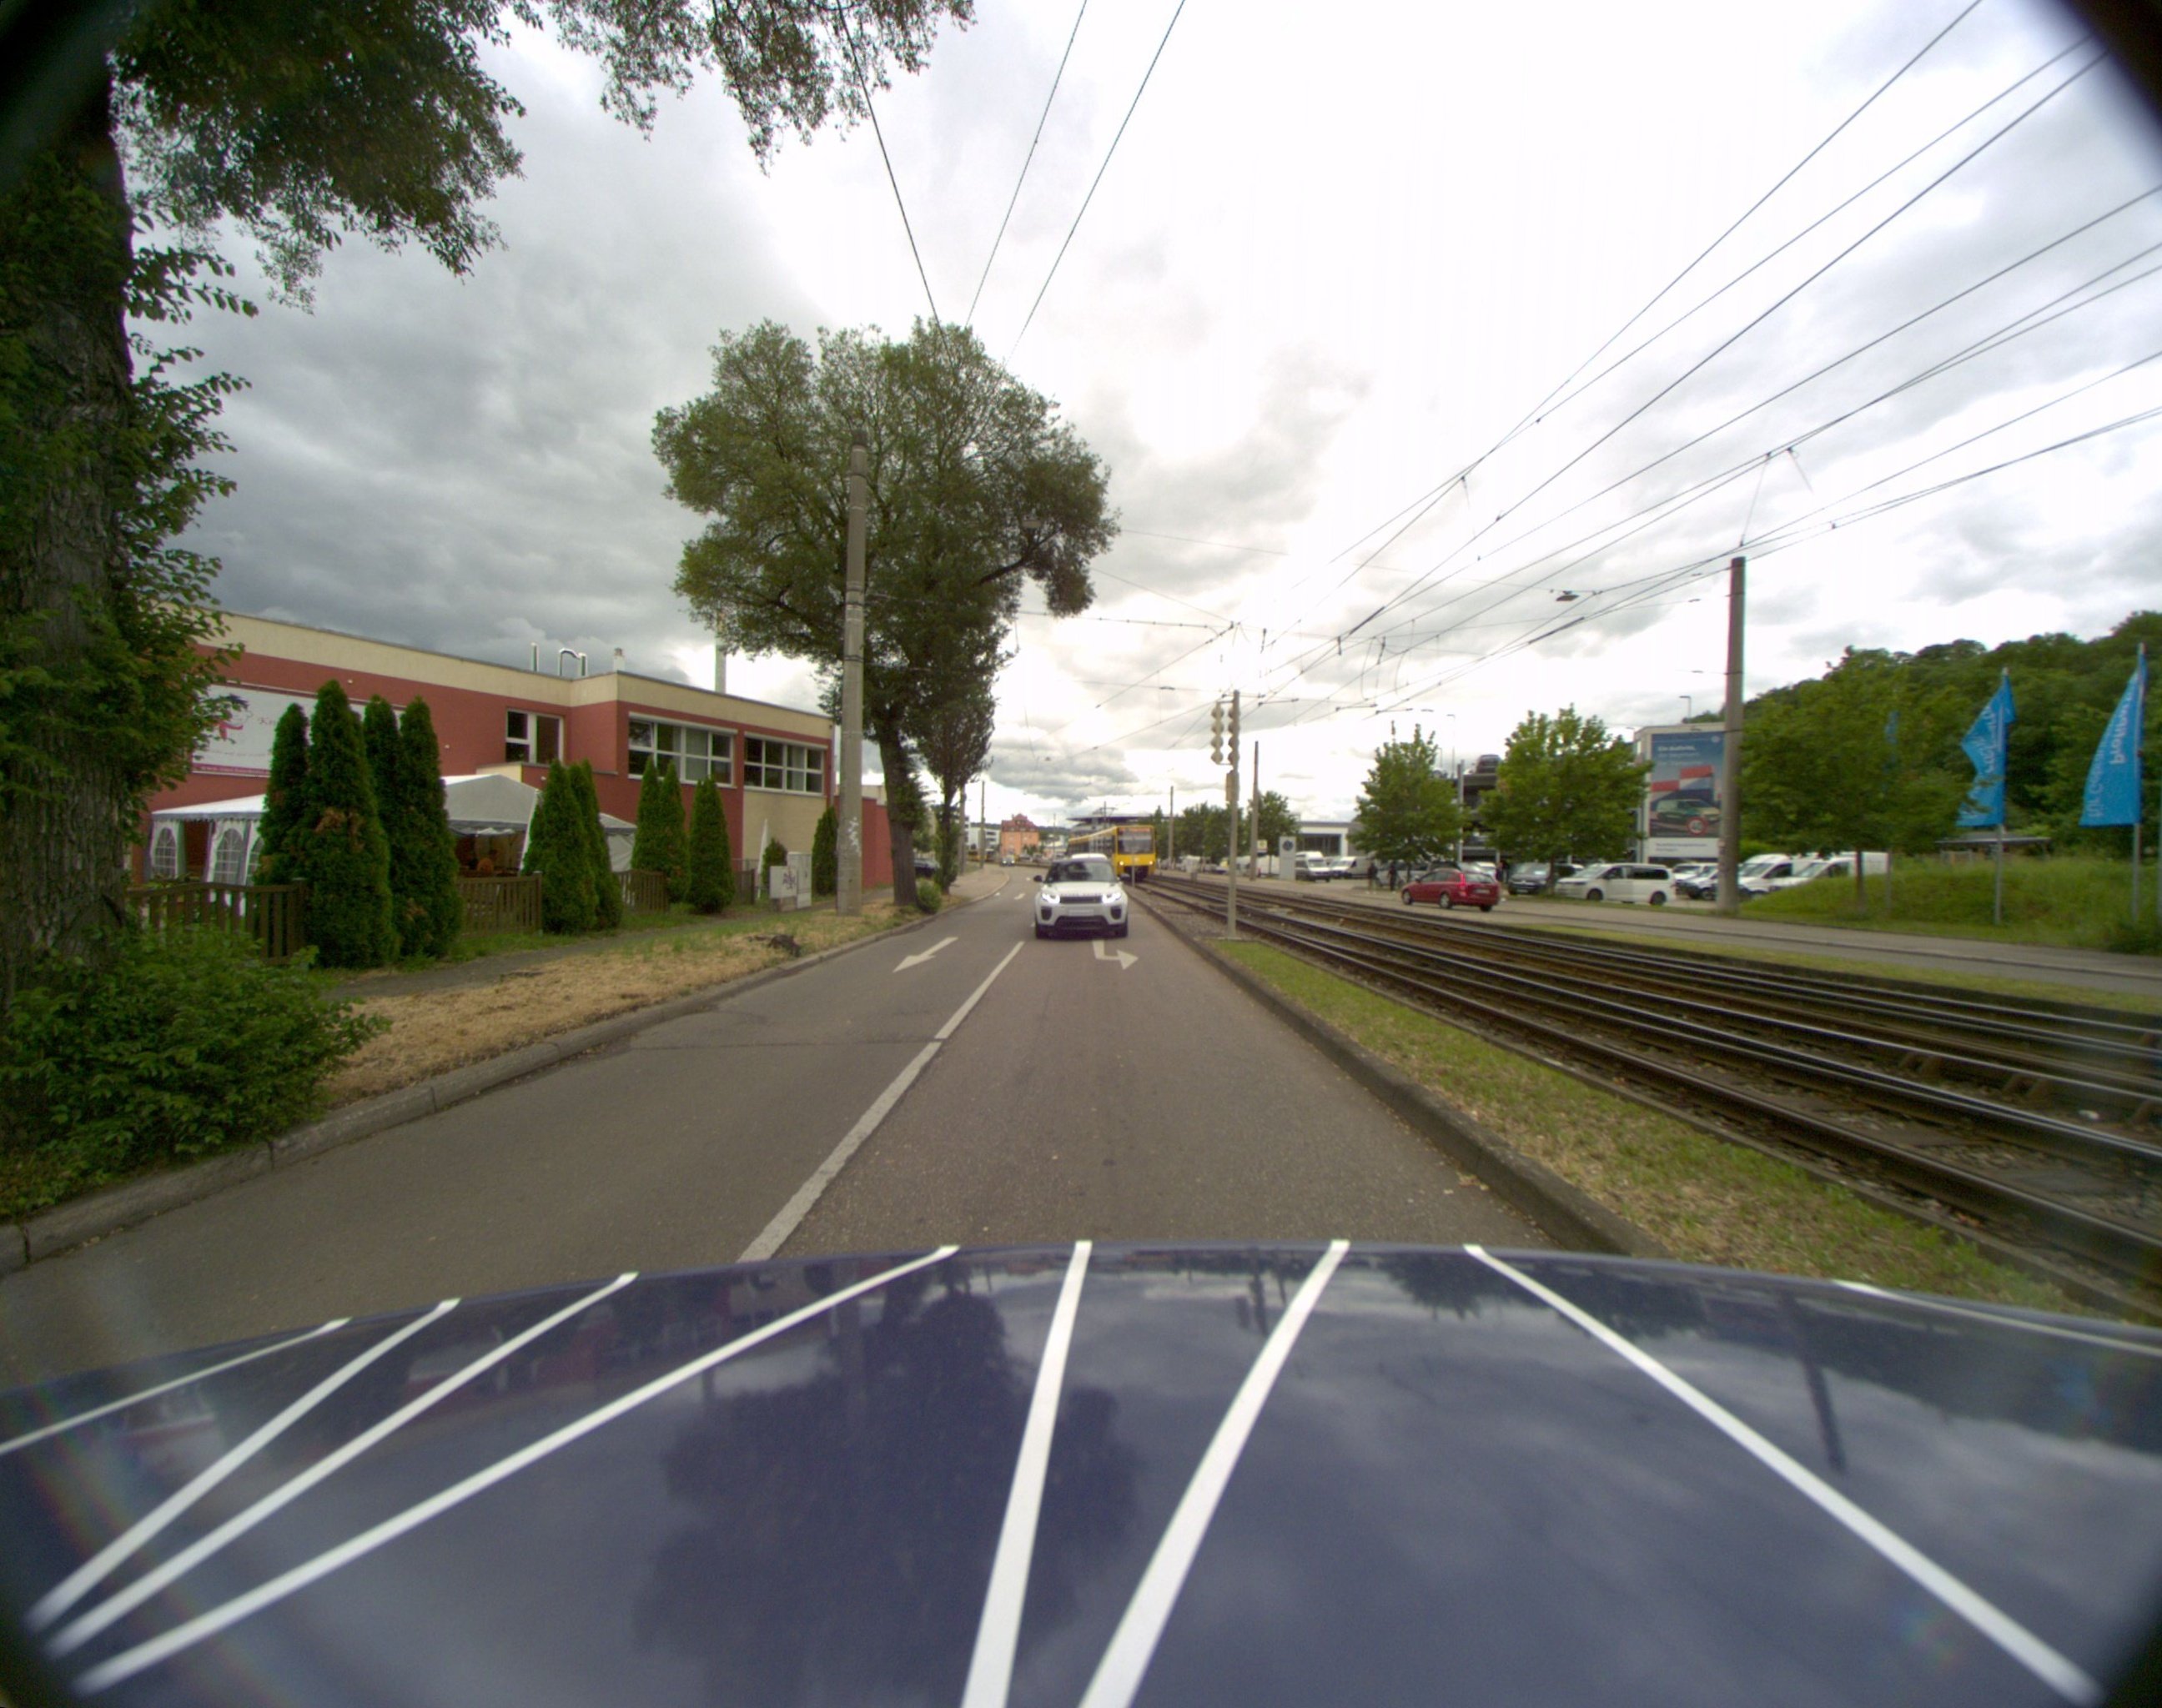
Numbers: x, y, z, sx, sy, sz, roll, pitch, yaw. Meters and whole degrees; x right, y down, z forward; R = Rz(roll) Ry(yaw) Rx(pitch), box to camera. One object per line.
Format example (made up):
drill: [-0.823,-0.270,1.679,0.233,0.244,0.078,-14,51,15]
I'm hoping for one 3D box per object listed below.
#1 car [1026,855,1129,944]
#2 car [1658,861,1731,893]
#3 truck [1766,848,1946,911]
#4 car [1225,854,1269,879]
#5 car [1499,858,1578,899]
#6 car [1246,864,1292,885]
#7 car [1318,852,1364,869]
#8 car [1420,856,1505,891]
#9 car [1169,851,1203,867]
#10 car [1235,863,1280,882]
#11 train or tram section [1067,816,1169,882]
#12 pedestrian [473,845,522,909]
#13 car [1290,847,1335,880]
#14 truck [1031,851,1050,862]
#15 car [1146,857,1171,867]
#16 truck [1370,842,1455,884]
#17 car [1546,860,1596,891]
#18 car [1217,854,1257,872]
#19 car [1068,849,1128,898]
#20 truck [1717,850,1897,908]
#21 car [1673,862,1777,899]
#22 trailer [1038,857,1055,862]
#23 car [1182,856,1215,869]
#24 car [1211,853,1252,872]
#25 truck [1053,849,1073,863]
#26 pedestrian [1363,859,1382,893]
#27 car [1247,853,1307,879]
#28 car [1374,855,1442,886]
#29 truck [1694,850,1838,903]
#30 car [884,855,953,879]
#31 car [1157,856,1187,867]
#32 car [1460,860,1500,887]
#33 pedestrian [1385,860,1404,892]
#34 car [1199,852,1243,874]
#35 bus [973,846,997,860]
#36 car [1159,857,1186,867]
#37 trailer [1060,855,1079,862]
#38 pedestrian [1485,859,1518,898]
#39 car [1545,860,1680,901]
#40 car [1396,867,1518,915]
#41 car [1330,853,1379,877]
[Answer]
car: [-0.143,0.879,16.654,1.999,1.718,3.999,0,0,-2]
car: [39.564,1.458,48.998,4.284,2.001,1.996,0,-1,-25]
truck: [34.356,1.073,33.947,5.059,2.573,2.473,1,0,25]
car: [18.782,1.383,86.027,4.380,2.802,2.002,1,0,-10]
car: [24.342,1.274,40.345,5.084,2.002,2.160,1,0,-42]
car: [20.042,2.171,81.142,4.380,2.093,2.002,1,0,-10]
car: [31.686,0.753,92.763,4.857,2.002,1.999,1,0,-4]
car: [22.837,1.118,45.721,2.000,2.002,5.126,1,0,-7]
car: [15.266,0.739,110.313,4.510,2.298,2.124,1,0,-5]
car: [19.363,2.022,83.602,4.380,2.093,2.002,1,0,-10]
train or tram section: [2.122,-0.403,55.068,3.400,3.984,16.925,-1,1,-11]
pedestrian: [-13.946,0.536,18.174,0.703,1.481,0.771,1,1,37]
car: [22.287,0.864,73.388,2.114,3.001,5.934,1,0,-4]
truck: [-10.778,0.643,201.186,3.119,2.904,8.950,3,-1,-14]
car: [13.133,1.332,128.953,3.999,1.608,1.999,1,0,-4]
truck: [25.895,0.681,59.431,5.923,3.067,2.123,1,0,24]
car: [33.710,1.421,52.432,1.995,2.001,4.475,1,0,21]
car: [19.255,1.085,93.845,4.380,2.160,2.002,1,0,-10]
car: [0.638,0.788,32.315,2.000,1.881,4.624,1,0,-6]
truck: [35.042,1.155,36.927,5.765,2.573,2.472,1,0,19]
car: [36.486,1.484,43.147,3.993,2.002,2.002,0,0,11]
trailer: [-8.893,1.389,193.424,3.061,1.270,6.998,3,-1,-14]
car: [16.722,1.220,108.202,4.378,1.834,2.003,1,0,-5]
car: [17.968,1.053,91.033,4.380,2.160,2.002,1,0,-10]
truck: [-4.160,0.387,174.072,2.874,2.963,8.445,3,-1,-12]
pedestrian: [15.922,1.198,41.549,0.678,1.802,0.855,-1,0,-3]
car: [20.171,1.269,78.417,5.489,2.587,2.245,1,0,-6]
car: [22.280,1.068,51.948,2.000,2.002,4.915,1,0,-8]
truck: [36.026,1.149,40.181,5.061,2.573,2.472,1,0,19]
car: [-11.017,0.873,51.548,4.223,1.434,1.766,2,1,22]
car: [14.457,1.170,120.351,4.380,1.608,2.003,1,0,-8]
car: [28.568,1.339,54.493,1.995,1.820,4.475,1,0,21]
pedestrian: [17.155,1.194,41.637,0.630,1.703,0.855,-1,0,-3]
car: [17.715,1.094,96.350,4.983,2.683,2.113,1,0,-10]
bus: [-27.779,-0.294,219.049,3.566,3.930,10.468,-1,2,-27]
car: [14.730,1.272,122.767,3.999,1.608,1.999,1,0,-4]
trailer: [-2.640,1.010,166.384,2.768,1.486,7.217,3,-1,-12]
pedestrian: [18.382,1.056,33.230,0.720,1.646,1.041,-2,0,-13]
car: [25.044,1.234,35.904,5.071,1.877,2.165,1,0,-6]
car: [14.176,1.338,28.968,2.000,1.506,4.497,3,0,-6]
car: [30.414,1.209,84.357,5.965,2.587,1.999,1,0,-35]
